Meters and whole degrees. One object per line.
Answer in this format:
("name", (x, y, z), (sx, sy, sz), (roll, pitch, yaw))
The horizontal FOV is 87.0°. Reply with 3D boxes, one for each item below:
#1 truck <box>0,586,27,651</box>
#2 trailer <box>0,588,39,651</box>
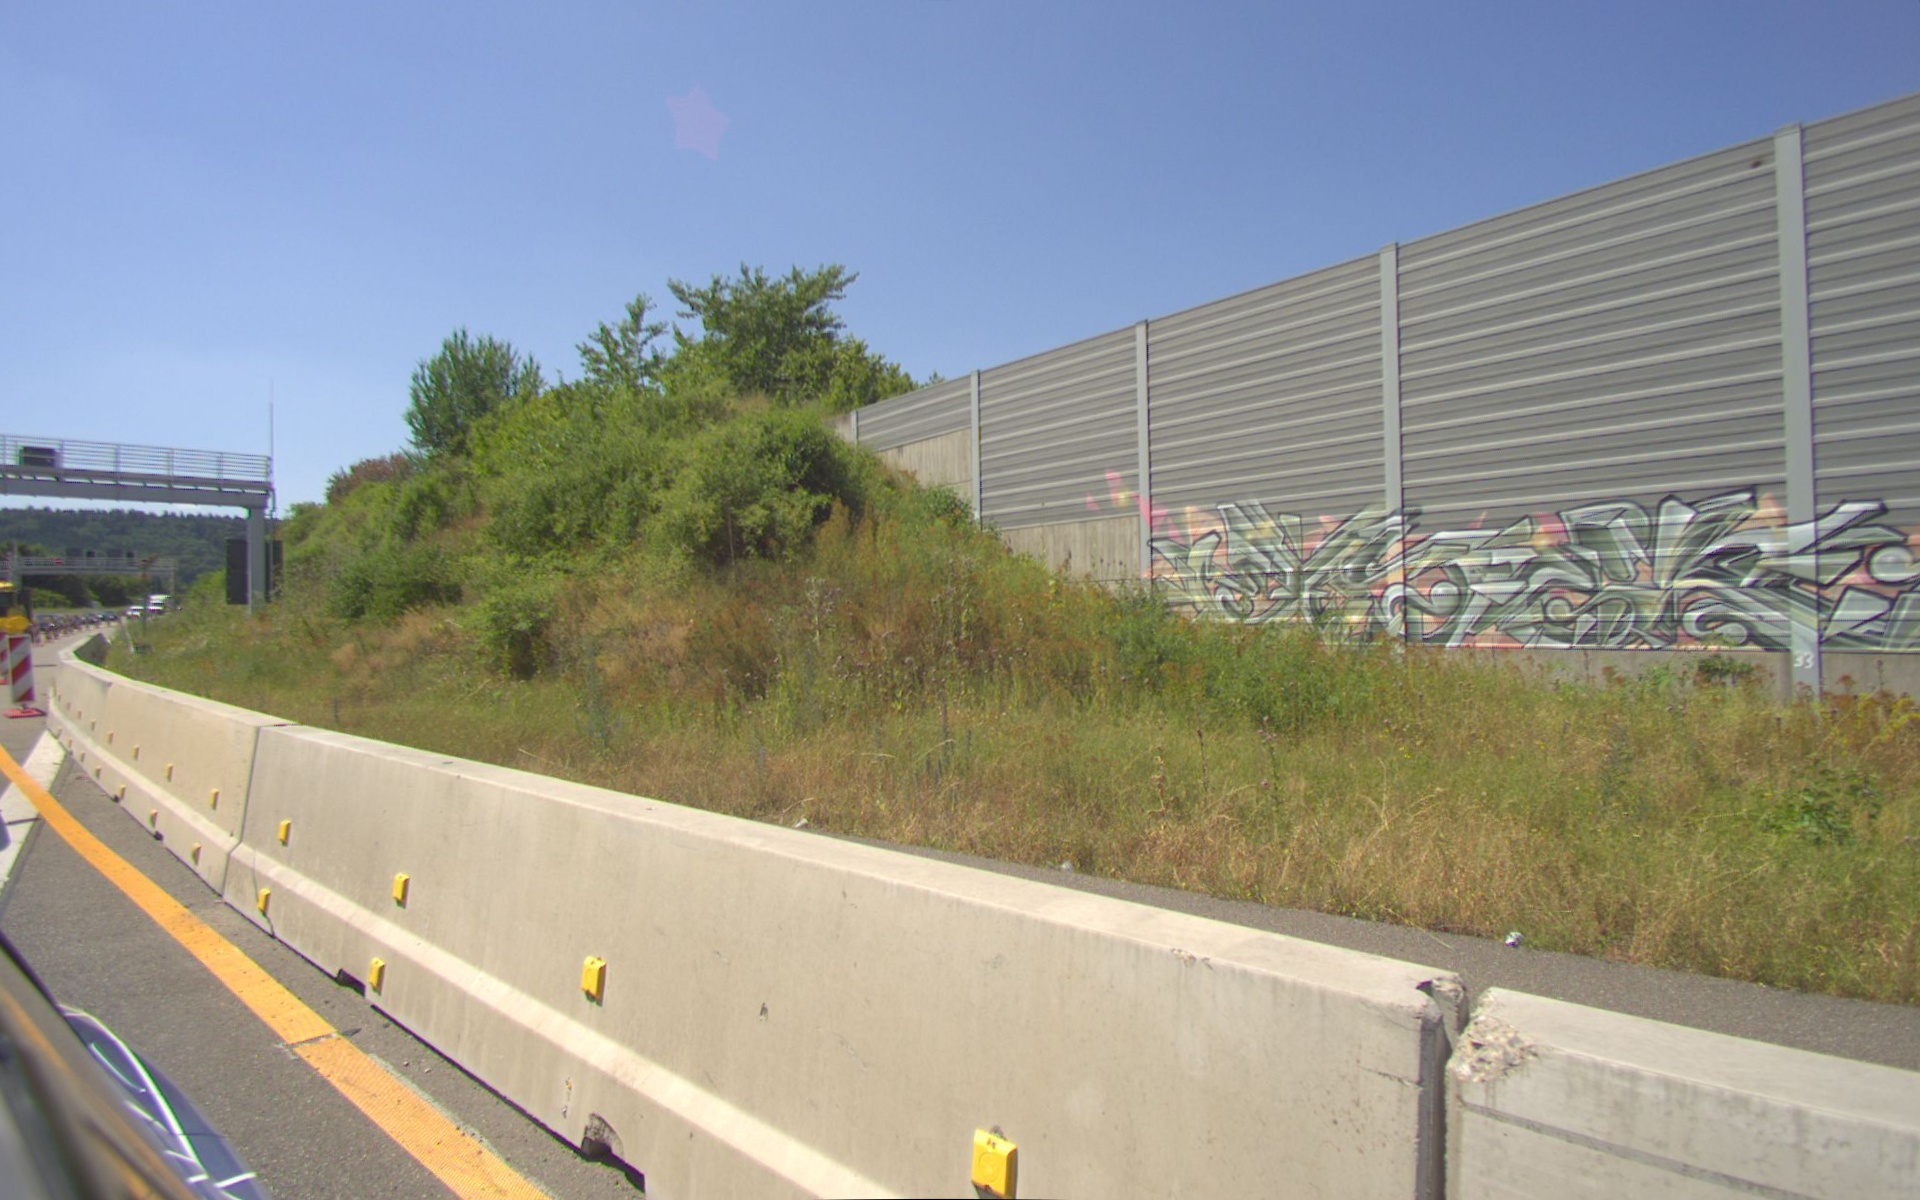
("truck", (-57.226, 1.185, 59.461), (3.182, 3.688, 7.094), (-2, -1, -40))
("trailer", (-62.744, 1.467, 66.024), (3.188, 3.695, 17.449), (-2, -1, -40))
